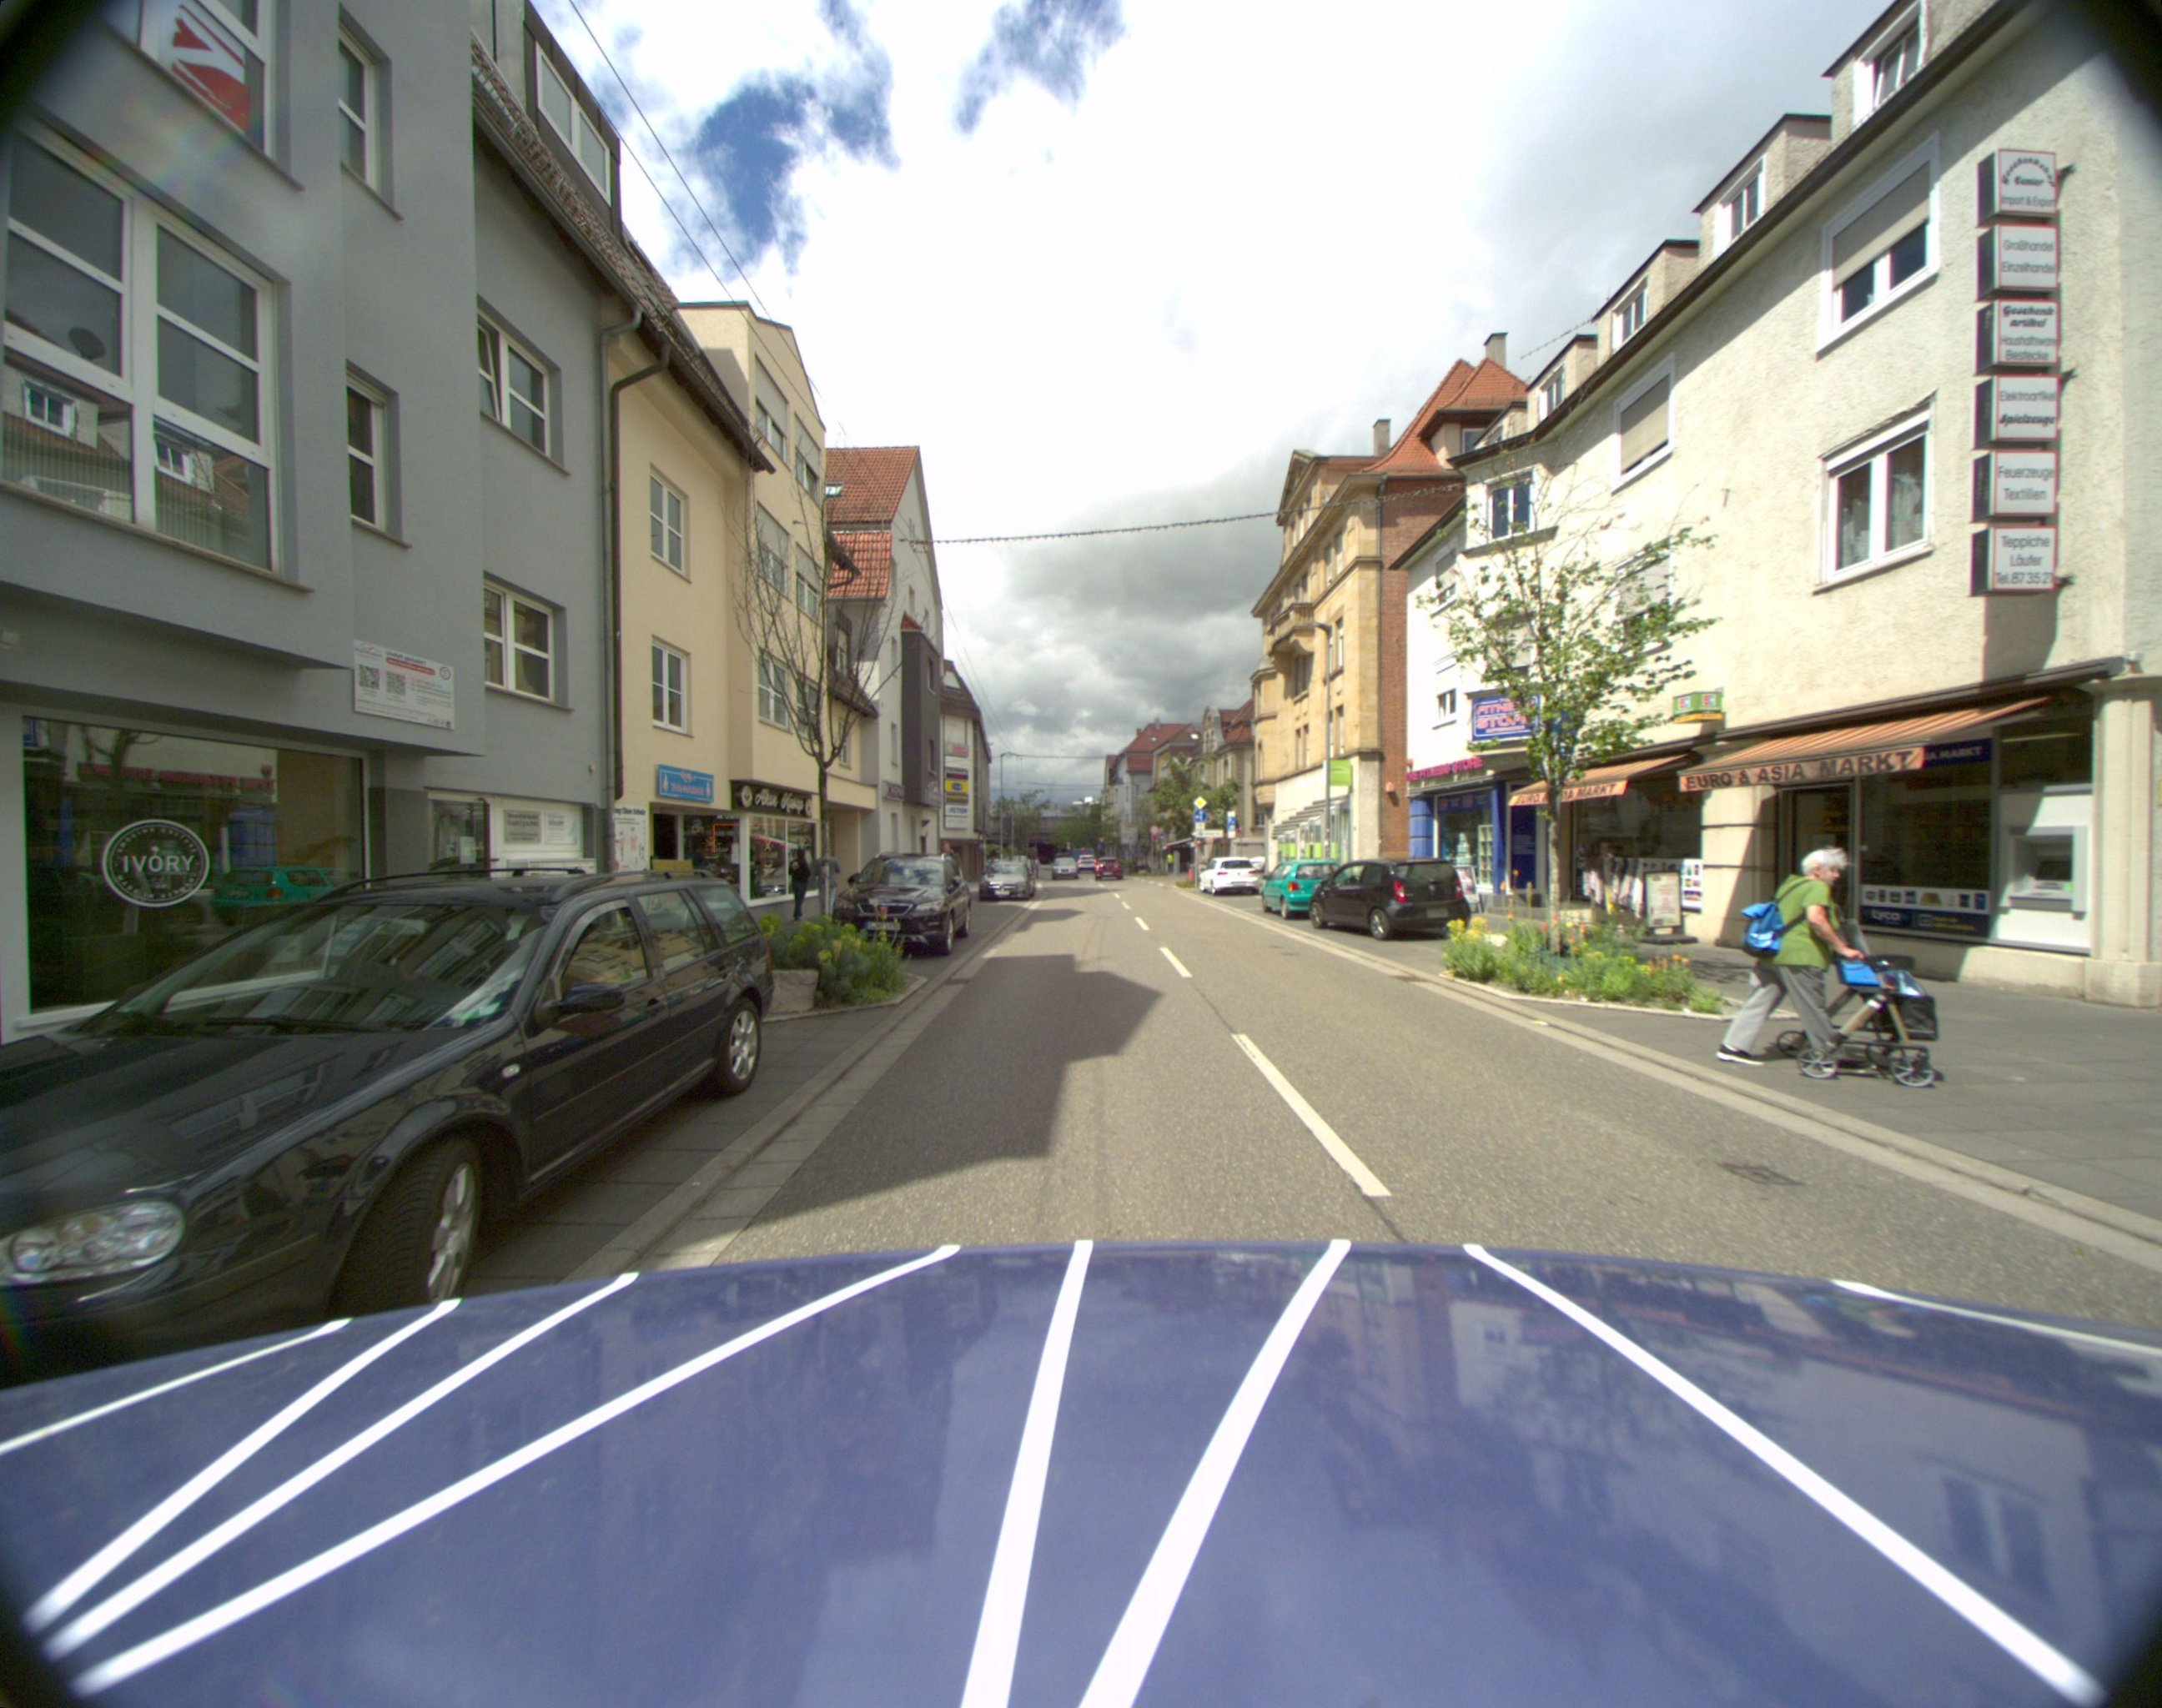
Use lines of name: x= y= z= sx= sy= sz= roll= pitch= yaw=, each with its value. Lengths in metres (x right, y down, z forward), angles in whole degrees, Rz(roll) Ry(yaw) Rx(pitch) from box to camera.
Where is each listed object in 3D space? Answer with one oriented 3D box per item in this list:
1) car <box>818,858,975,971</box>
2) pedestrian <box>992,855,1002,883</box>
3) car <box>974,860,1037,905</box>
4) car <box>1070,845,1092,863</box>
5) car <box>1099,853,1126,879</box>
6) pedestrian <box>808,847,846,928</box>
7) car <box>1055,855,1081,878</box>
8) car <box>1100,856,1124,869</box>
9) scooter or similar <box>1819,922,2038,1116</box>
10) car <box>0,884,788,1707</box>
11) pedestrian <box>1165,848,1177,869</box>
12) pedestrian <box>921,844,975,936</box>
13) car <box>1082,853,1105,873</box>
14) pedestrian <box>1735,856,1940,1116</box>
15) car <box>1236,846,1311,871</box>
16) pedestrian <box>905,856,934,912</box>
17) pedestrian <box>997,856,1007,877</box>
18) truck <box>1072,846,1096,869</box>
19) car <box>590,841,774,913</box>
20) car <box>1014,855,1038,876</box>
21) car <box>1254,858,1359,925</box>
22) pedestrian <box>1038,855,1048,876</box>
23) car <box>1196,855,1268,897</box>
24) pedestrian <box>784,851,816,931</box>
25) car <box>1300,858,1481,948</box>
car: x=-2.966 y=0.891 z=13.110 sx=1.804 sy=1.594 sz=4.203 roll=1 pitch=0 yaw=-2
pedestrian: x=-5.223 y=0.947 z=47.154 sx=0.572 sy=1.693 sz=0.481 roll=-2 pitch=2 yaw=-7
car: x=-2.761 y=1.013 z=28.788 sx=1.711 sy=1.412 sz=4.318 roll=-2 pitch=1 yaw=3
car: x=-0.015 y=-0.029 z=115.999 sx=2.310 sy=2.657 sz=7.263 roll=-2 pitch=1 yaw=-8
car: x=2.010 y=0.748 z=49.239 sx=1.536 sy=1.521 sz=3.758 roll=-2 pitch=1 yaw=0
pedestrian: x=-5.497 y=0.704 z=16.466 sx=0.537 sy=1.708 sz=0.606 roll=-2 pitch=2 yaw=-1
car: x=-0.884 y=0.821 z=52.732 sx=1.724 sy=1.517 sz=3.598 roll=-1 pitch=0 yaw=1
car: x=3.221 y=0.940 z=80.299 sx=1.723 sy=1.296 sz=4.463 roll=-1 pitch=-1 yaw=-9
scooter or similar: x=5.650 y=1.063 z=5.097 sx=0.784 sy=1.119 sz=0.630 roll=-2 pitch=1 yaw=-4
car: x=-2.969 y=0.997 z=3.570 sx=1.694 sy=1.432 sz=4.294 roll=2 pitch=1 yaw=-3
pedestrian: x=7.648 y=0.351 z=64.691 sx=0.801 sy=1.746 sz=0.812 roll=-3 pitch=2 yaw=-10
pedestrian: x=-2.779 y=0.733 z=16.002 sx=0.978 sy=1.853 sz=0.864 roll=1 pitch=1 yaw=-1
car: x=1.155 y=0.773 z=68.722 sx=1.791 sy=1.630 sz=4.116 roll=-2 pitch=1 yaw=5
pedestrian: x=5.089 y=0.839 z=5.149 sx=0.733 sy=1.609 sz=0.651 roll=-2 pitch=2 yaw=-4
car: x=12.723 y=0.262 z=50.191 sx=4.391 sy=1.373 sz=1.996 roll=-3 pitch=1 yaw=-20
pedestrian: x=-5.040 y=0.935 z=23.700 sx=0.745 sy=1.708 sz=0.655 roll=-1 pitch=2 yaw=-1
pedestrian: x=-6.017 y=0.915 z=57.692 sx=0.661 sy=1.553 sz=0.477 roll=-2 pitch=2 yaw=-3
truck: x=0.245 y=0.357 z=83.518 sx=2.112 sy=2.292 sz=6.472 roll=-2 pitch=1 yaw=-3
car: x=-11.603 y=0.647 z=22.319 sx=4.358 sy=1.921 sz=1.954 roll=2 pitch=0 yaw=1
car: x=-4.124 y=0.858 z=57.432 sx=1.720 sy=1.445 sz=4.550 roll=-1 pitch=0 yaw=-3
car: x=5.555 y=0.865 z=19.168 sx=1.590 sy=1.406 sz=3.668 roll=-2 pitch=1 yaw=1
pedestrian: x=-2.890 y=0.852 z=57.906 sx=0.584 sy=1.591 sz=0.549 roll=-2 pitch=2 yaw=17
car: x=5.896 y=0.818 z=30.185 sx=1.851 sy=1.390 sz=4.035 roll=-2 pitch=1 yaw=-3
pedestrian: x=-6.207 y=0.809 z=16.796 sx=0.437 sy=1.708 sz=0.537 roll=-2 pitch=2 yaw=-2
car: x=5.753 y=0.835 z=14.586 sx=1.602 sy=1.437 sz=3.555 roll=-2 pitch=0 yaw=-8
